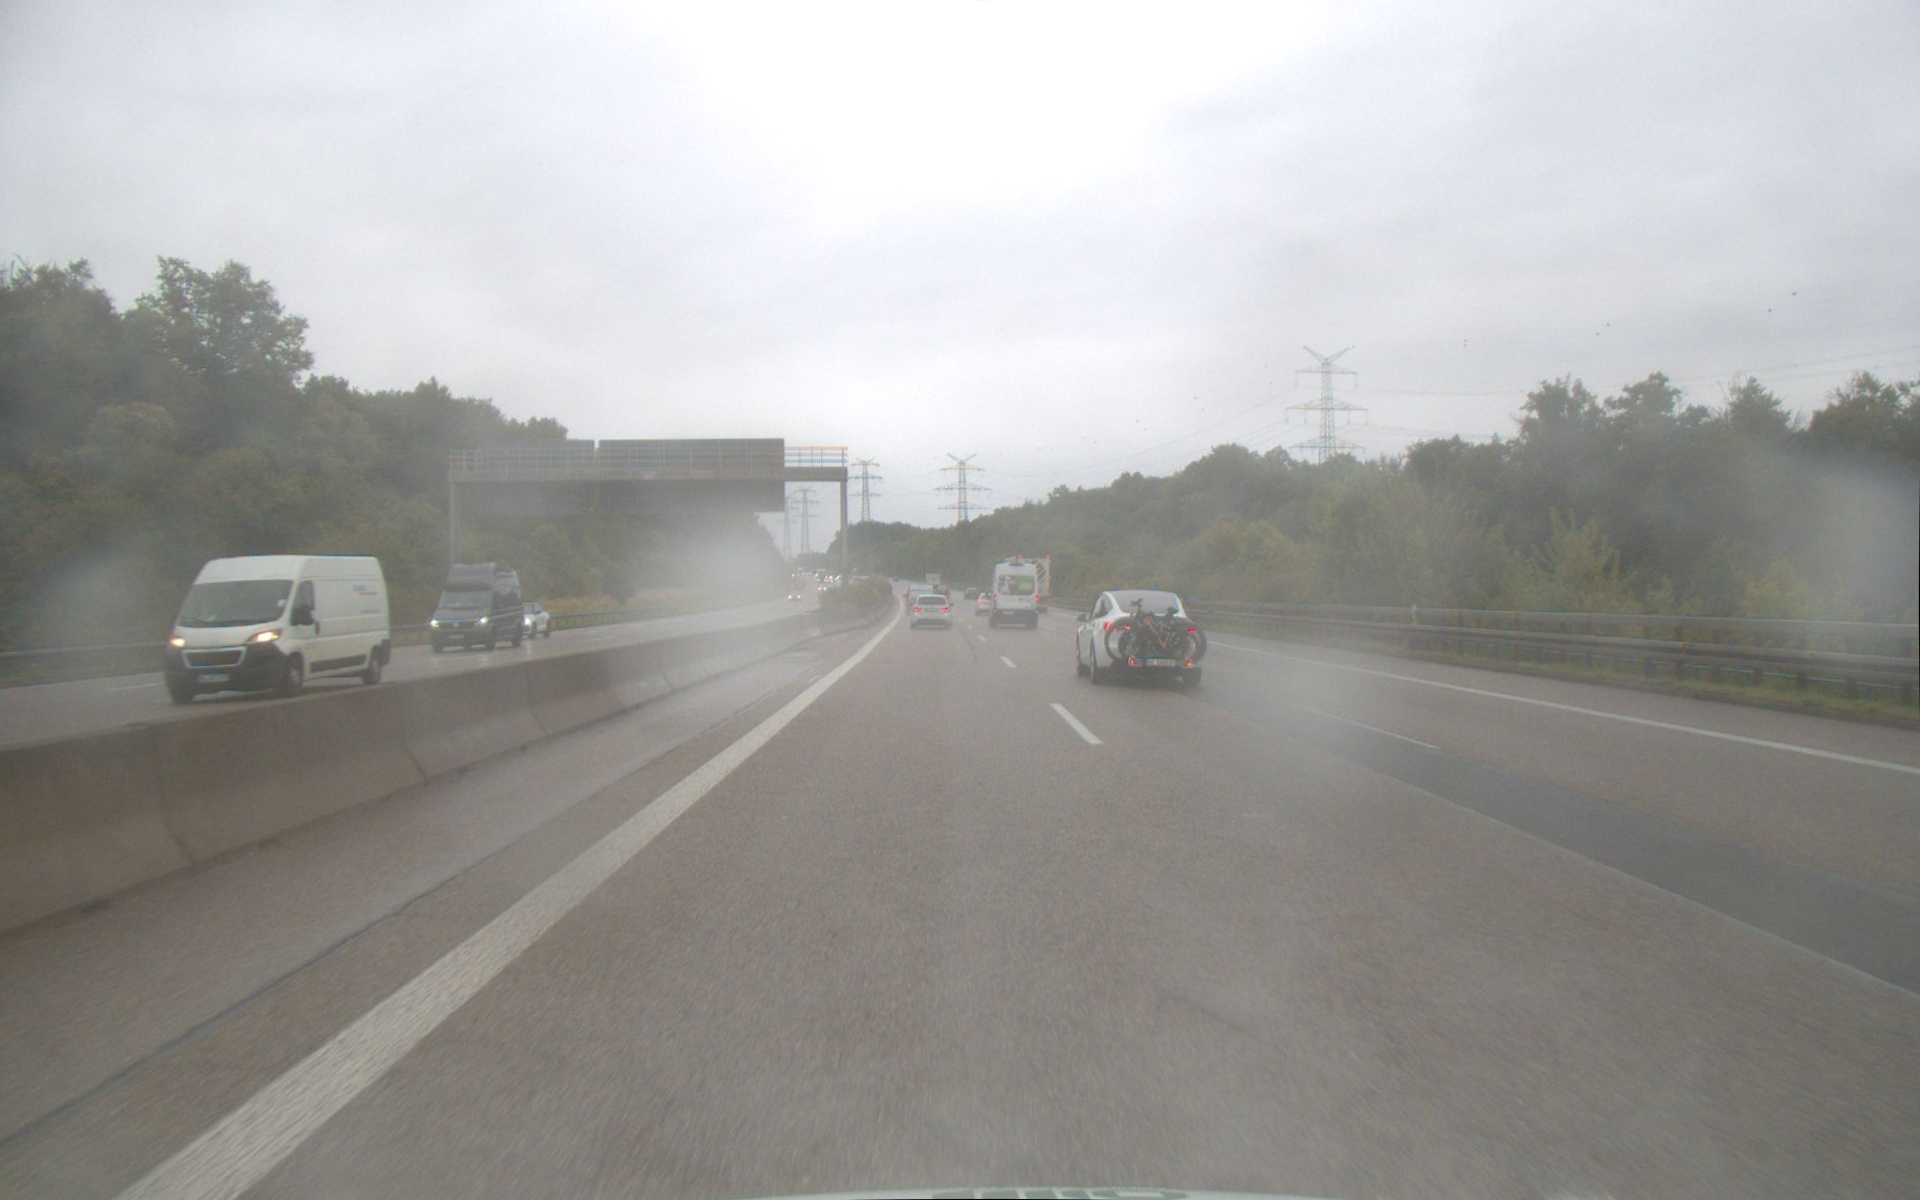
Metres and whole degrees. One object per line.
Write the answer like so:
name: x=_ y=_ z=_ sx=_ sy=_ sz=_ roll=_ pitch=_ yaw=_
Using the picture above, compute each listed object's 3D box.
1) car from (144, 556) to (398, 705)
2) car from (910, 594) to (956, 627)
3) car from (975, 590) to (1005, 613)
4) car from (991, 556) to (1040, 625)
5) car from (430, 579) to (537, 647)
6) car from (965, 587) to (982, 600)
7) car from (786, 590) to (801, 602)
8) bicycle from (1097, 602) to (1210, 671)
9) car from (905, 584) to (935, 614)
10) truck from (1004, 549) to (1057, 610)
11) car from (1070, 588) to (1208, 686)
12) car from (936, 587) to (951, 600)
car: x=-12.204 y=0.480 z=29.868 sx=2.231 sy=2.372 sz=6.171 roll=-1 pitch=0 yaw=-3
car: x=-1.151 y=0.435 z=69.766 sx=1.829 sy=1.310 sz=3.999 roll=-1 pitch=0 yaw=-1
car: x=1.919 y=0.073 z=106.167 sx=1.819 sy=1.447 sz=4.000 roll=0 pitch=1 yaw=0
car: x=2.414 y=-0.408 z=72.653 sx=1.953 sy=2.914 sz=4.000 roll=-1 pitch=0 yaw=0
car: x=-16.501 y=0.428 z=57.630 sx=1.953 sy=2.206 sz=6.415 roll=-1 pitch=0 yaw=-1
car: x=1.632 y=-0.780 z=204.882 sx=1.953 sy=1.512 sz=3.999 roll=-2 pitch=0 yaw=-2
car: x=-20.829 y=-0.517 z=207.188 sx=1.827 sy=1.467 sz=3.995 roll=-1 pitch=0 yaw=-5
bicycle: x=3.129 y=0.589 z=26.929 sx=1.718 sy=1.110 sz=0.913 roll=0 pitch=-1 yaw=-2
car: x=-2.477 y=-0.036 z=103.407 sx=1.808 sy=1.803 sz=3.999 roll=1 pitch=0 yaw=-1
truck: x=5.295 y=-1.532 z=126.333 sx=3.529 sy=4.408 sz=13.200 roll=0 pitch=0 yaw=0
car: x=3.125 y=0.596 z=29.868 sx=1.823 sy=1.595 sz=4.962 roll=1 pitch=0 yaw=-1
car: x=-2.156 y=-0.835 z=213.668 sx=1.953 sy=1.601 sz=3.999 roll=-1 pitch=0 yaw=-1
